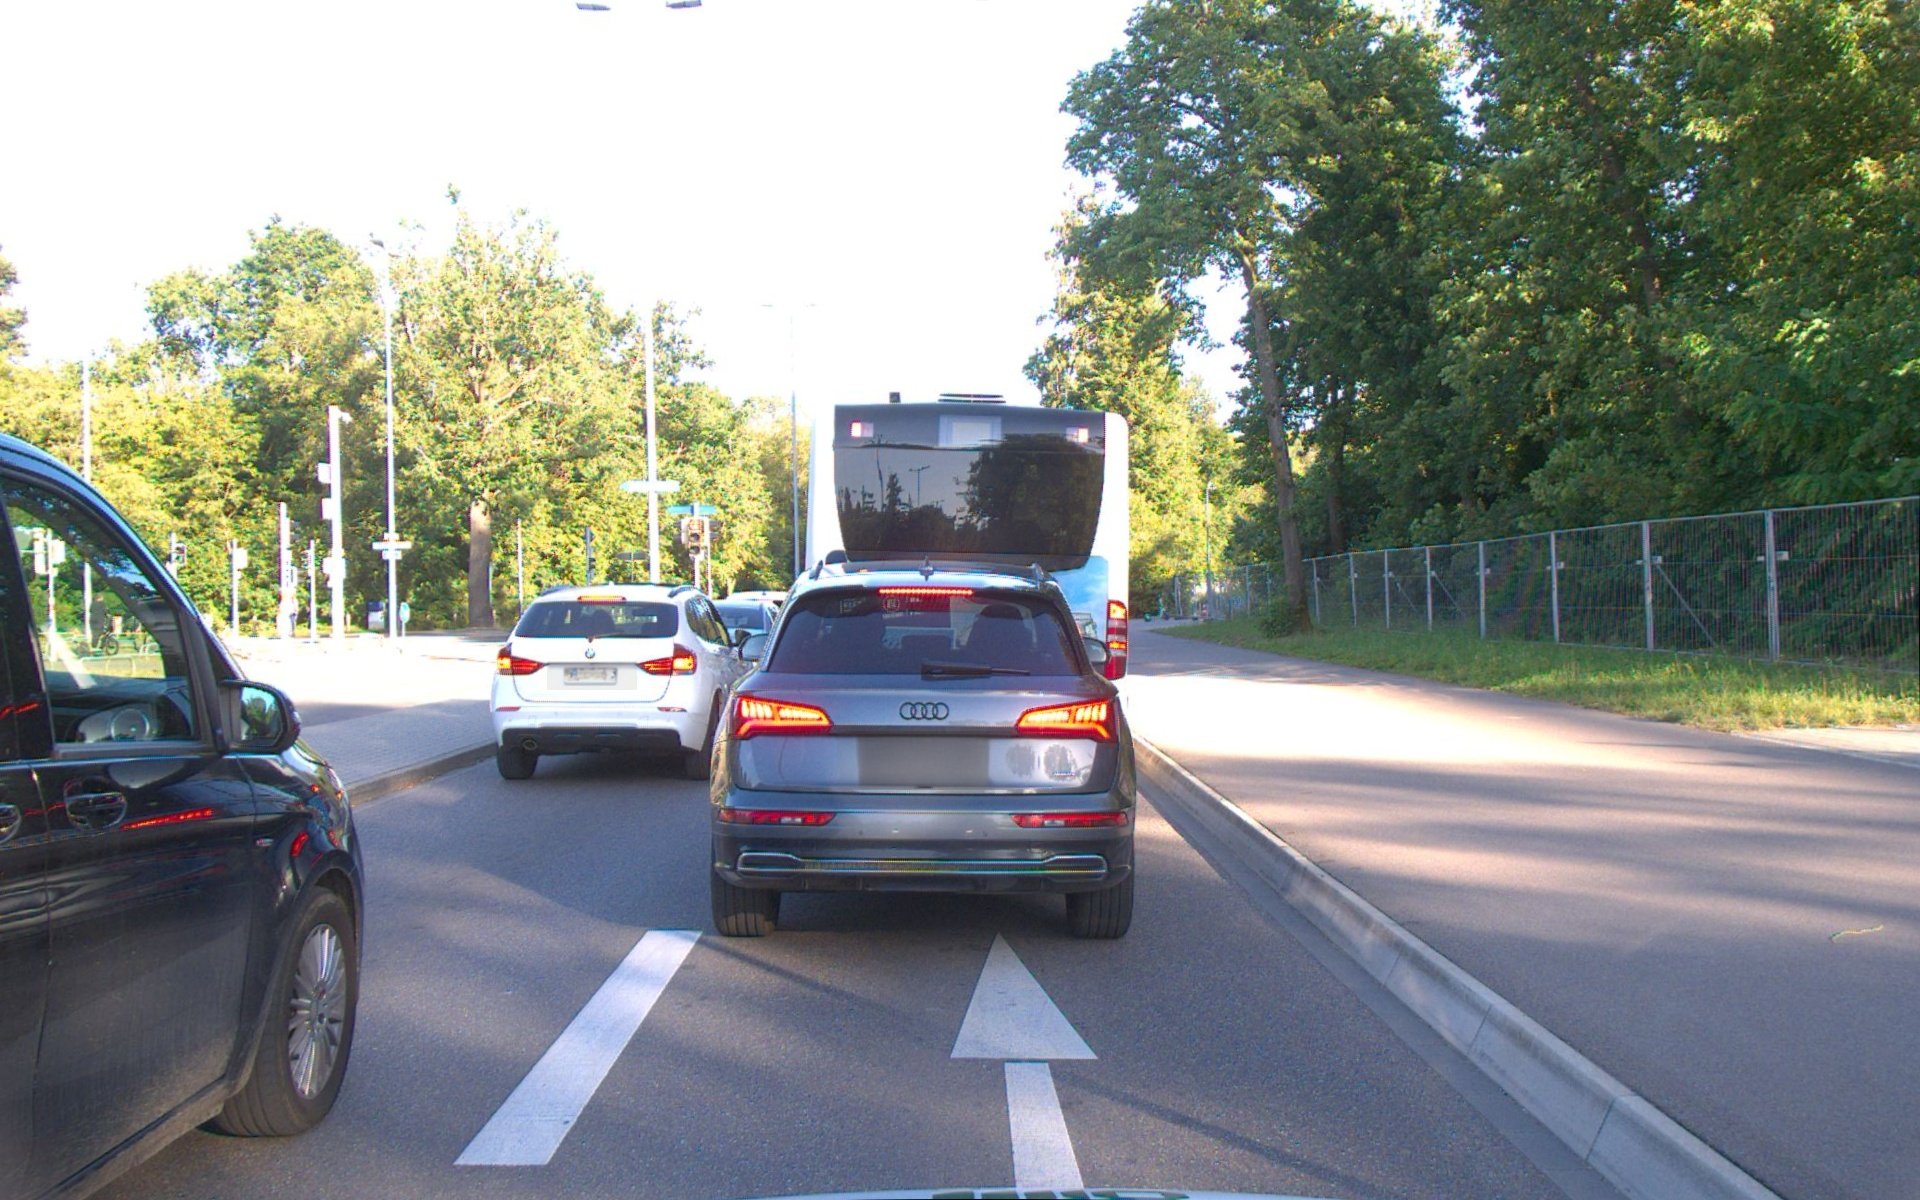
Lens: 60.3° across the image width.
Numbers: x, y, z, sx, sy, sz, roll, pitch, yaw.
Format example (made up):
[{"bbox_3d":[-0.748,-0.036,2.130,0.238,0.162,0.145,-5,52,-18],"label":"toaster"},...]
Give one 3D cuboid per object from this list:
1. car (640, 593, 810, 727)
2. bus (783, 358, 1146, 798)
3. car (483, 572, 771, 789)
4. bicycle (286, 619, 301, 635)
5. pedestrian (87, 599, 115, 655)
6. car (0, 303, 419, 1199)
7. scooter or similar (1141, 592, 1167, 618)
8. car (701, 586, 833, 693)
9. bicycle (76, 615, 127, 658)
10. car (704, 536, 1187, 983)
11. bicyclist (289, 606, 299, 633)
[{"bbox_3d":[-2.877,0.678,21.058,1.749,1.469,4.275,1,1,-3],"label":"car"},{"bbox_3d":[0.057,-0.203,15.135,2.623,3.196,5.882,1,1,0],"label":"bus"},{"bbox_3d":[-2.755,0.626,14.651,1.683,1.608,4.433,1,-1,-1],"label":"car"},{"bbox_3d":[-24.078,0.971,59.753,0.261,0.592,0.838,1,0,-6],"label":"bicycle"},{"bbox_3d":[-24.899,0.783,47.947,0.472,1.589,0.648,1,-1,-1],"label":"pedestrian"},{"bbox_3d":[-2.566,0.428,2.737,1.869,1.888,4.871,1,1,-2],"label":"car"},{"bbox_3d":[9.145,0.235,78.110,1.158,1.195,0.659,1,0,10],"label":"scooter or similar"},{"bbox_3d":[-3.131,0.595,27.524,1.771,1.599,4.000,1,1,-1],"label":"car"},{"bbox_3d":[-24.899,1.048,48.001,0.458,1.198,2.003,1,0,-1],"label":"bicycle"},{"bbox_3d":[-0.082,0.587,8.349,1.830,1.693,4.000,1,1,-1],"label":"car"},{"bbox_3d":[-24.067,0.710,59.769,0.268,0.979,0.240,1,-1,-5],"label":"bicyclist"}]
